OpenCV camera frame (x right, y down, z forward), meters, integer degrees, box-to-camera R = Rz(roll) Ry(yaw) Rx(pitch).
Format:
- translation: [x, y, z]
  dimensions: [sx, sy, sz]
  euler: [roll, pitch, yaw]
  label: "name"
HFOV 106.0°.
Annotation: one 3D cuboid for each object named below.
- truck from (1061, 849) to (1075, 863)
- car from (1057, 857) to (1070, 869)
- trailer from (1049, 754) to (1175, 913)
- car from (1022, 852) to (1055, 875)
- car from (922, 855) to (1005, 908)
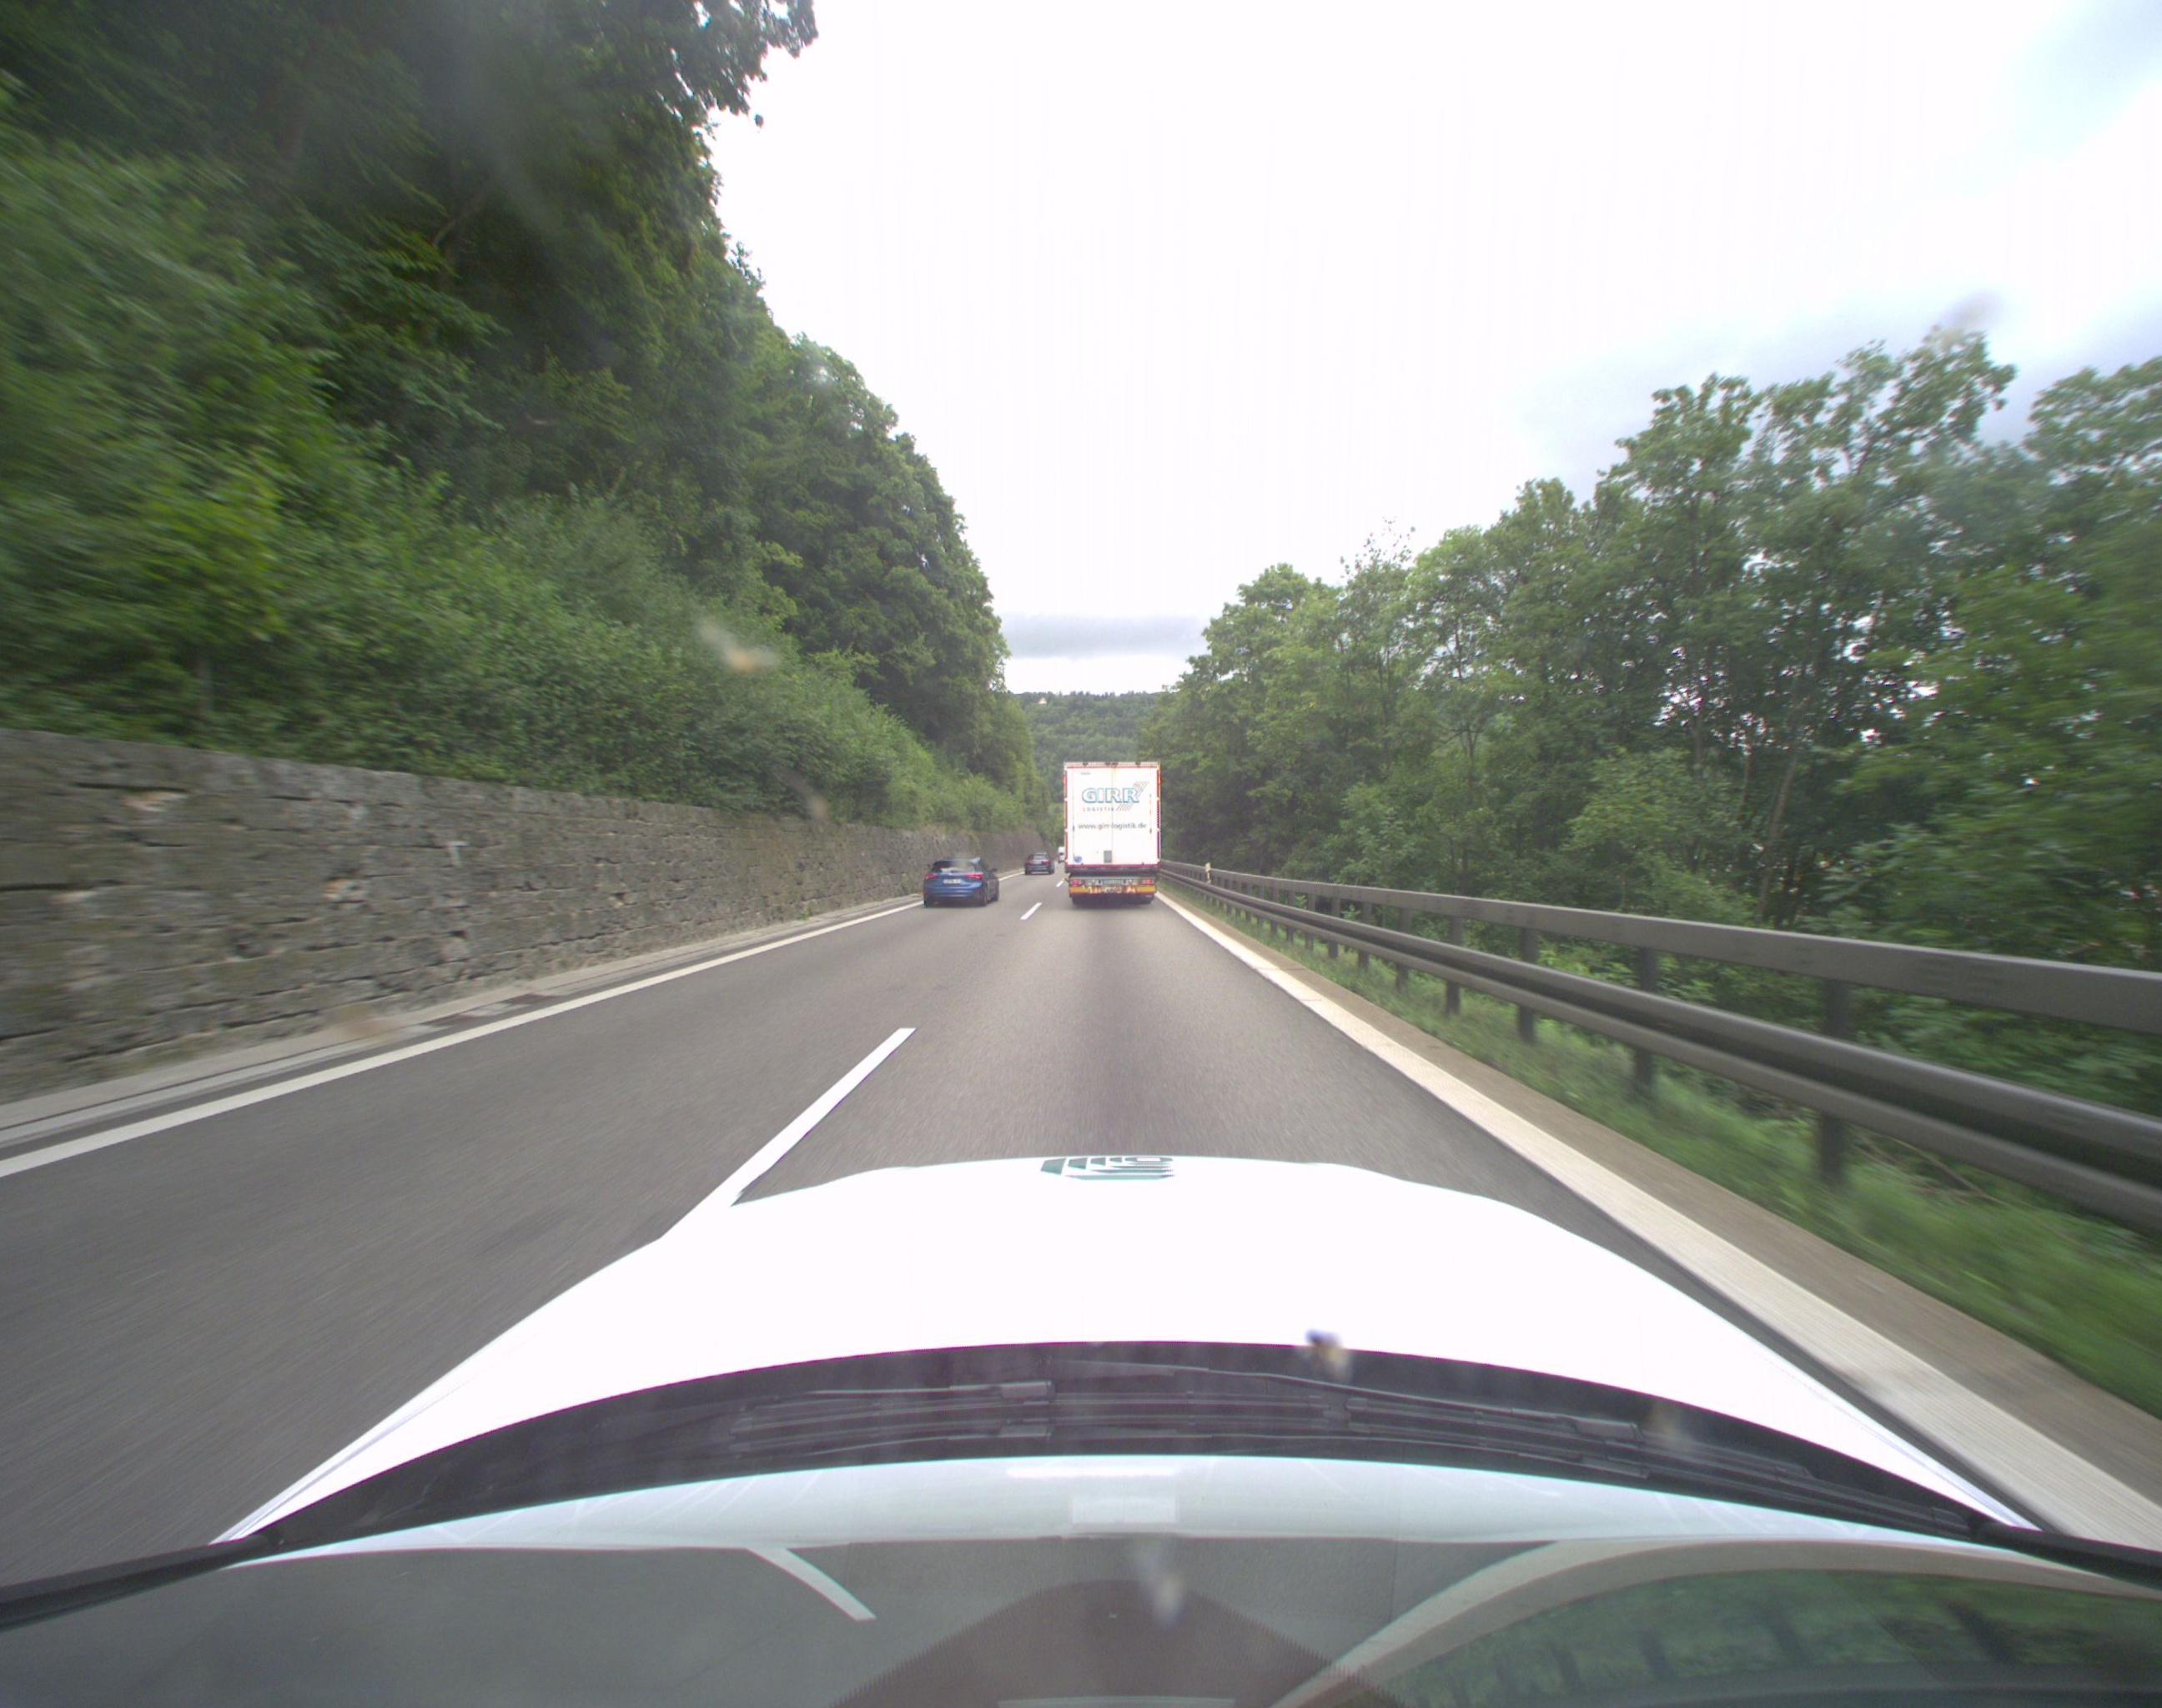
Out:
- translation: [-2.313, 0.333, 147.603]
  dimensions: [2.341, 2.274, 6.849]
  euler: [1, 0, 0]
  label: "truck"
- translation: [-2.411, 1.224, 112.305]
  dimensions: [1.628, 1.726, 4.346]
  euler: [0, 0, 1]
  label: "car"
- translation: [0.817, -0.584, 26.095]
  dimensions: [3.123, 4.042, 9.438]
  euler: [3, 0, 0]
  label: "trailer"
- translation: [-2.840, 0.638, 55.969]
  dimensions: [1.753, 1.463, 5.126]
  euler: [0, 0, 3]
  label: "car"
- translation: [-3.496, 0.787, 25.027]
  dimensions: [1.830, 1.469, 4.555]
  euler: [0, 0, 0]
  label: "car"
